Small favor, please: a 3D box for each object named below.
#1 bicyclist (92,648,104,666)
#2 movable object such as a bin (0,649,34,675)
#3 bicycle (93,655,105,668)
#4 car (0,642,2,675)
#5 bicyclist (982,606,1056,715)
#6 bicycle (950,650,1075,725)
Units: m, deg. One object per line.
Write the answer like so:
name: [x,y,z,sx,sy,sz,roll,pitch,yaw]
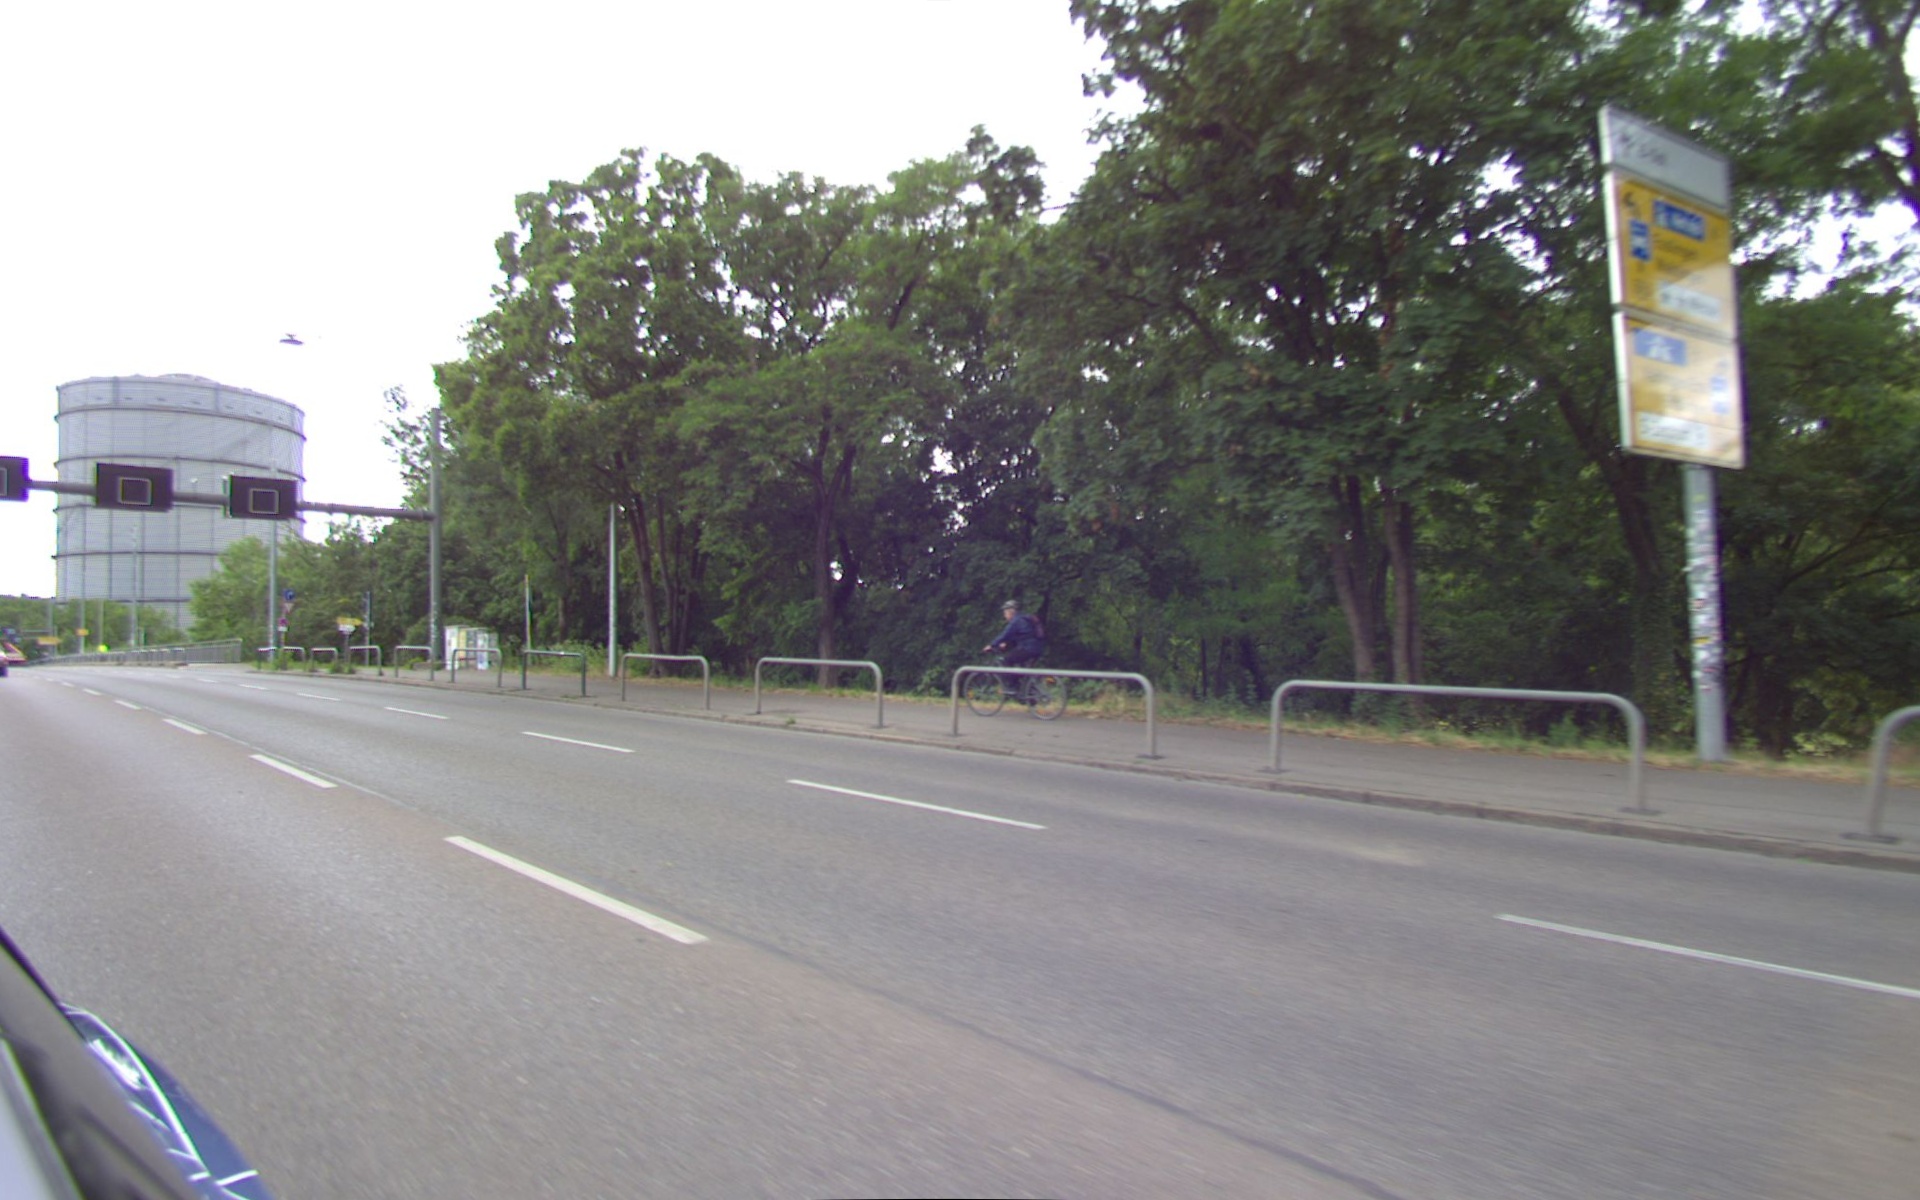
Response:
bicyclist: [-75.724,5.022,88.886,0.619,1.486,0.671,-9,3,-44]
movable object such as a bin: [-126.502,8.308,135.274,9.362,3.348,3.416,-4,-5,45]
bicycle: [-75.692,5.413,88.936,0.628,1.071,1.984,-9,3,-43]
car: [-35.980,2.269,36.639,4.001,1.454,1.673,-3,-5,44]
bicyclist: [0.855,0.874,14.726,0.984,1.528,0.509,-2,-3,43]
bicycle: [0.739,1.246,14.814,2.002,1.009,0.479,-2,-3,43]
